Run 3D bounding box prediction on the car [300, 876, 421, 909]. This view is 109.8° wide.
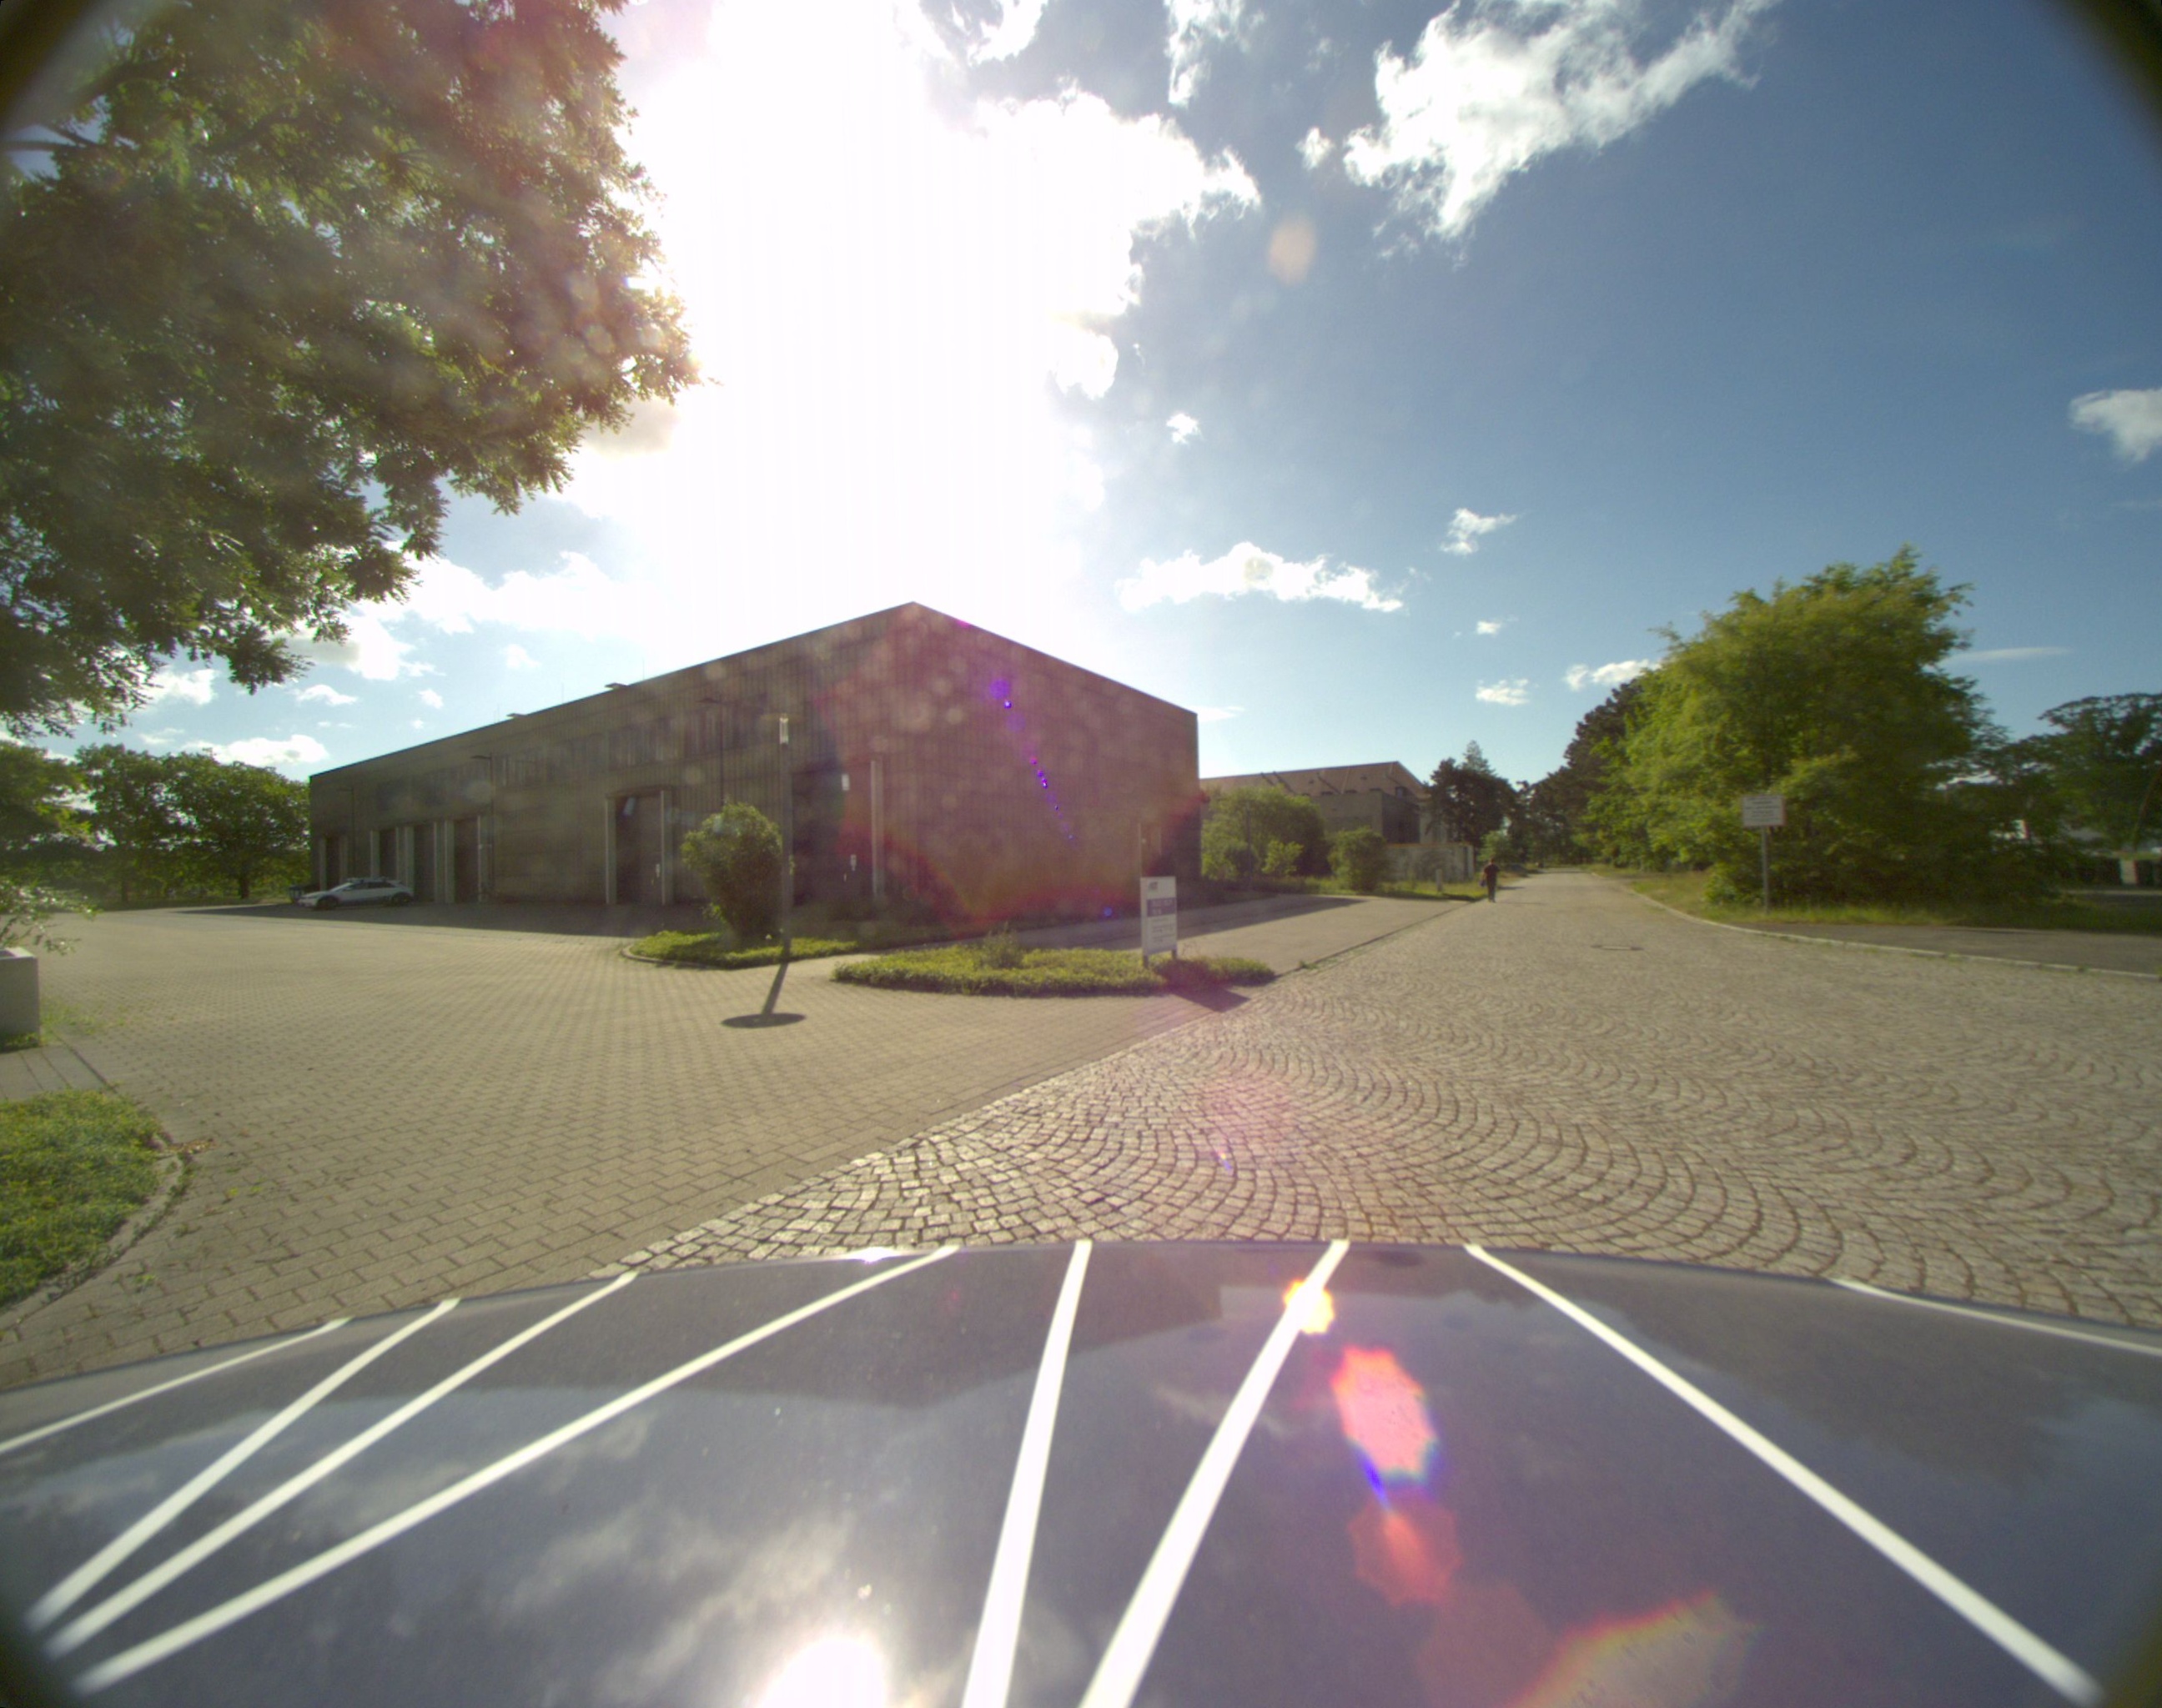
[{"bbox_3d":[-40.651,2.161,42.967,1.995,1.653,4.589,-2,-1,32],"label":"car"}]

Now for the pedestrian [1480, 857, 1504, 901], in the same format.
[{"bbox_3d":[16.698,1.001,30.869,0.795,1.770,1.071,0,0,31],"label":"pedestrian"}]

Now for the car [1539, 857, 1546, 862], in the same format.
[{"bbox_3d":[113.320,1.393,186.749,1.370,1.092,2.869,-2,-1,30],"label":"car"}]

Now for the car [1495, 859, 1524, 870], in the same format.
[{"bbox_3d":[50.584,1.255,89.691,2.905,1.252,1.290,-2,-1,24],"label":"car"}]
